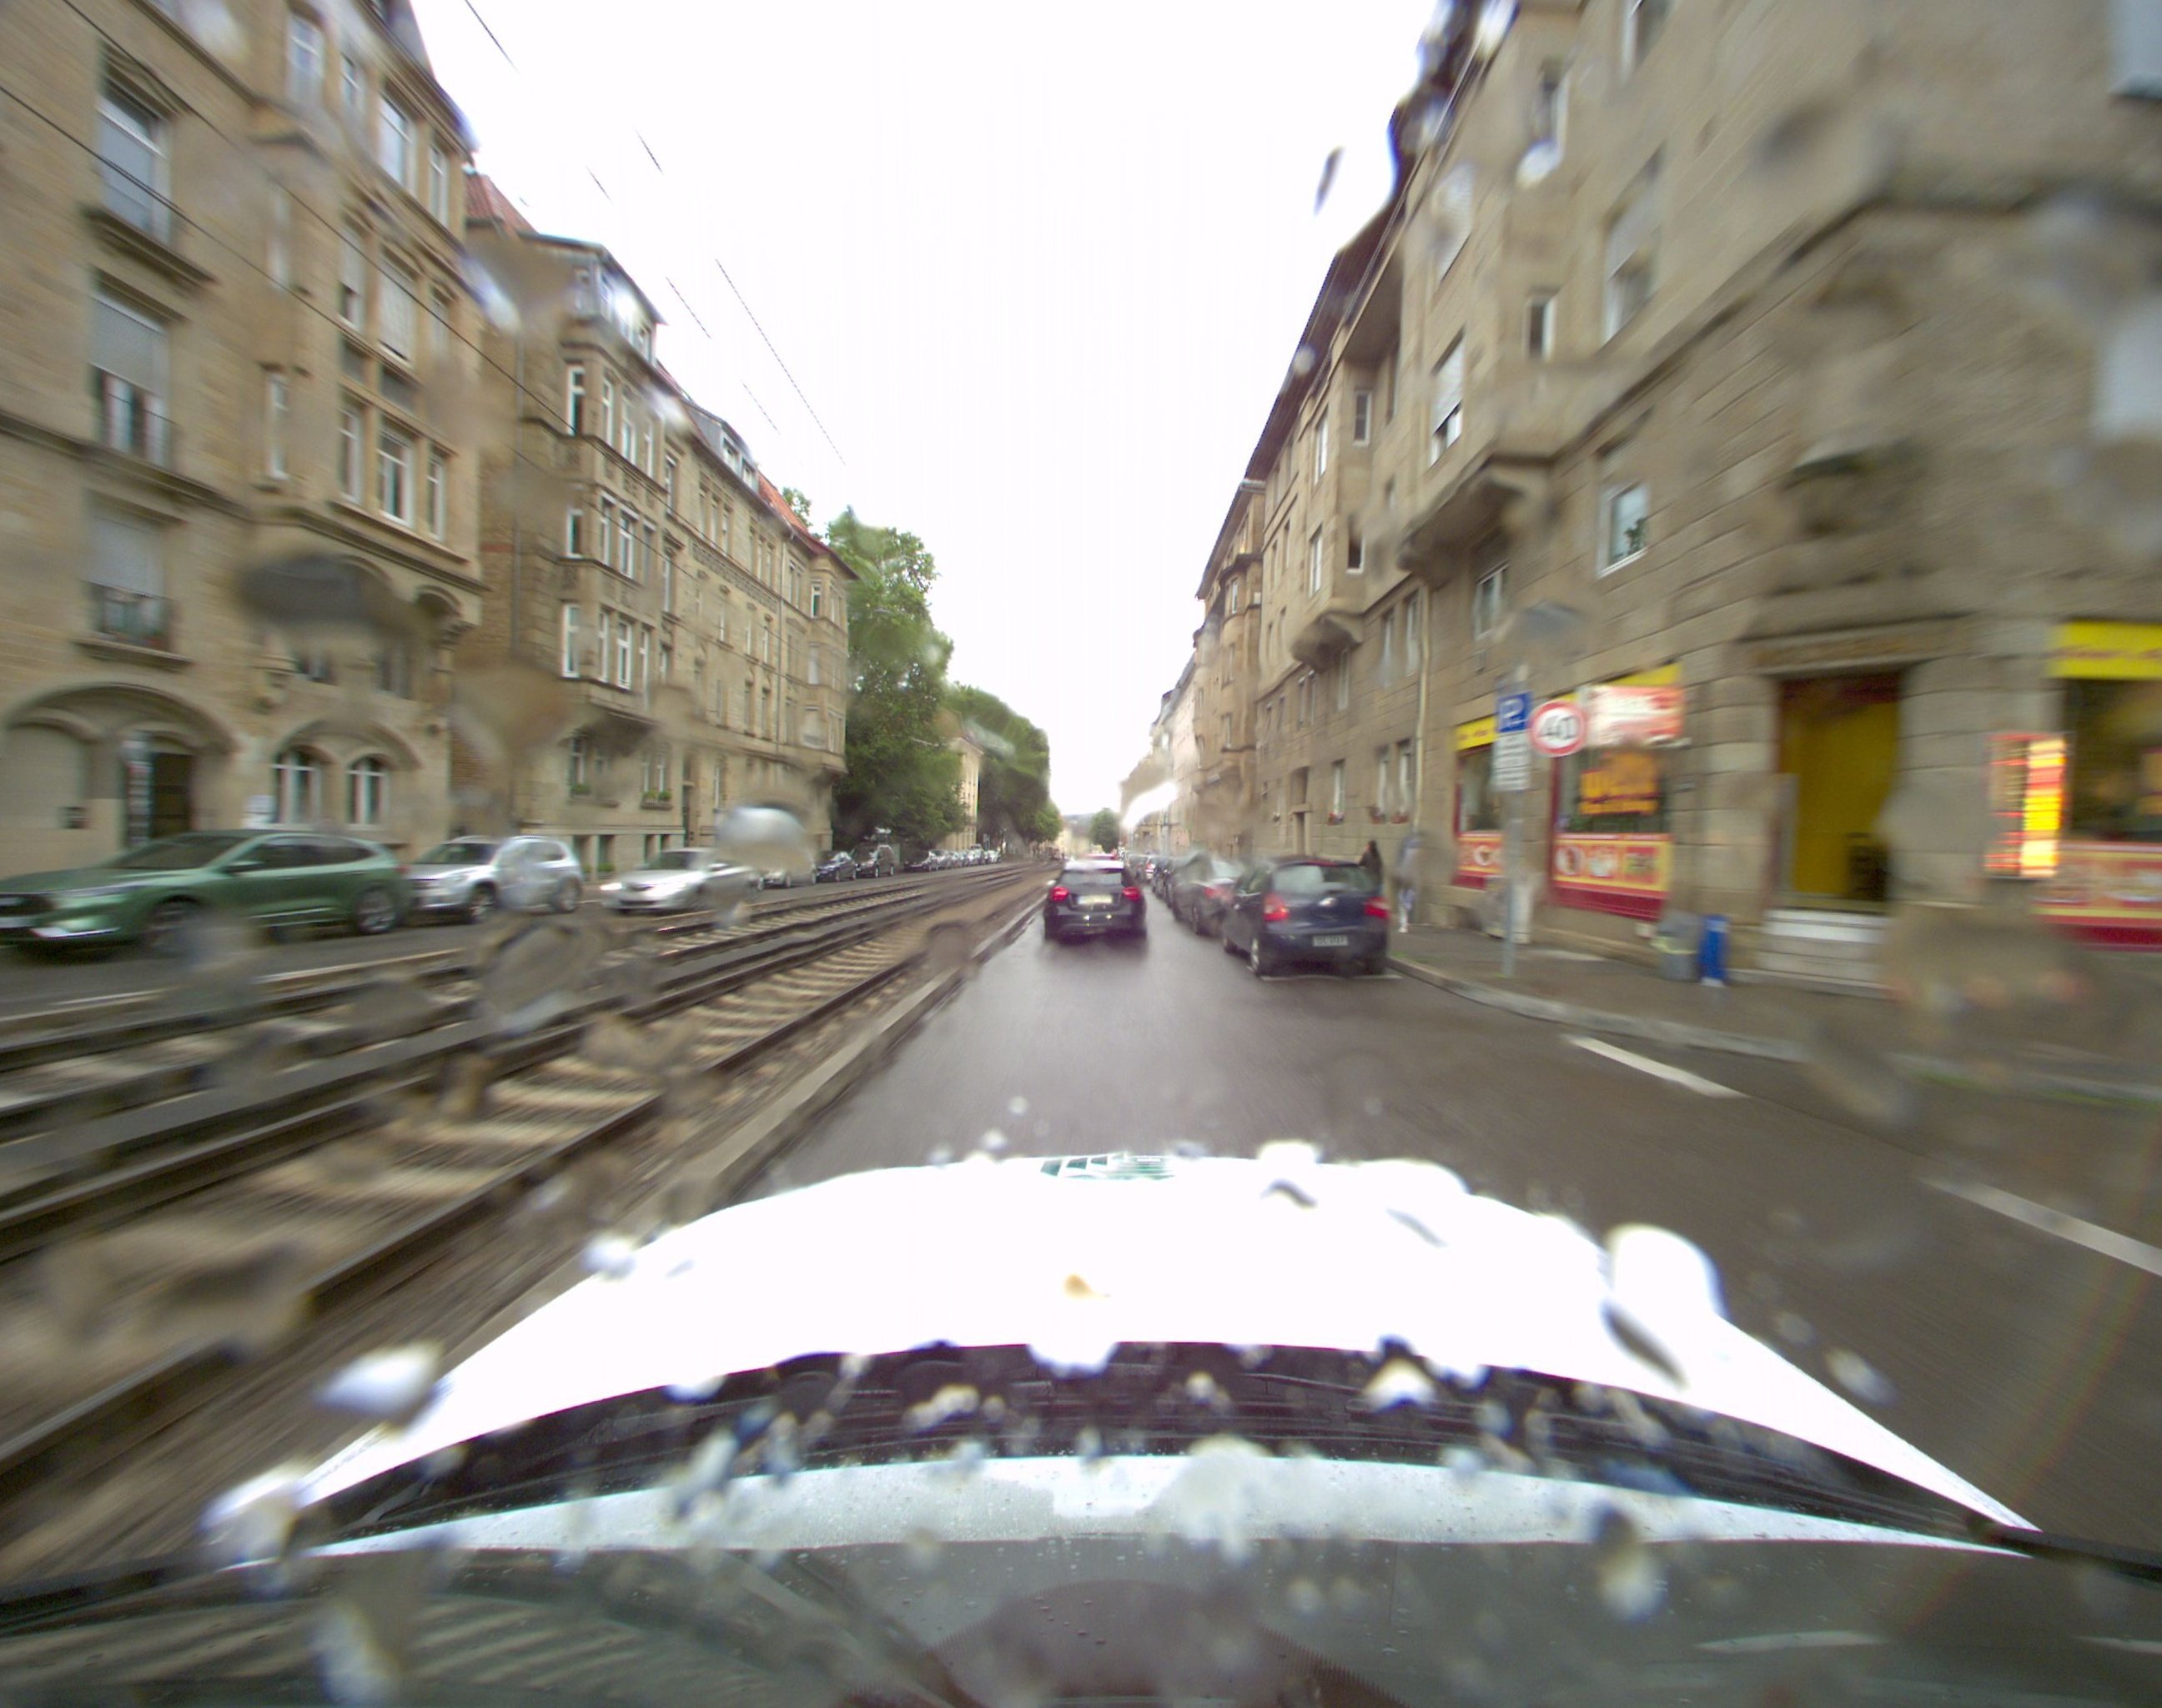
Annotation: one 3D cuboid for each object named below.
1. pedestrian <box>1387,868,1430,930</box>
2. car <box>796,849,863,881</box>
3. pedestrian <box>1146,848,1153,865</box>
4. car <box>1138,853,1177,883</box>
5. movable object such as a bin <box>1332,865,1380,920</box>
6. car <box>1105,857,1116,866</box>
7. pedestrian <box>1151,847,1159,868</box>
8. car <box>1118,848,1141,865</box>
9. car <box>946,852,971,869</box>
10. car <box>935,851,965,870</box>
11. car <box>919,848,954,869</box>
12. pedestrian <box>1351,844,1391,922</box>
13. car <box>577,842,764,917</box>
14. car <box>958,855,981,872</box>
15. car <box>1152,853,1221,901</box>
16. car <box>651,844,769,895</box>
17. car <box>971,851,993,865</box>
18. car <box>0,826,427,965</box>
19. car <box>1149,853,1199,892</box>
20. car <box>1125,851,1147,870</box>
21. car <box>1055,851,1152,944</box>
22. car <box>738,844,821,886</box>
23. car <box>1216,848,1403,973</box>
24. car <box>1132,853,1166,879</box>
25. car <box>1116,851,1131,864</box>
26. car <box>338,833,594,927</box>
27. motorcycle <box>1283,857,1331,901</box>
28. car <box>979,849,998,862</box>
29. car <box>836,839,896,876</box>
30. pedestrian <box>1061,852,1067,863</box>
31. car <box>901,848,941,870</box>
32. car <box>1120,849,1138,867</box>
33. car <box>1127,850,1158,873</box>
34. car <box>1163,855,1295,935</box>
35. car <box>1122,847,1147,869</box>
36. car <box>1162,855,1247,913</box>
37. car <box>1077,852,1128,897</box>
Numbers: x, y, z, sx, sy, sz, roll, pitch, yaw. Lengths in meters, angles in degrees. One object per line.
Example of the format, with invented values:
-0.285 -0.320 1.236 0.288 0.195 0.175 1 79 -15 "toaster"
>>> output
5.752 0.774 14.338 0.509 1.050 0.627 1 0 1 "pedestrian"
-11.501 0.471 37.529 1.756 1.398 4.269 0 0 0 "car"
7.447 0.272 88.545 0.743 1.833 1.039 -2 0 3 "pedestrian"
3.839 0.687 41.458 1.586 1.434 3.683 0 0 -1 "car"
5.888 0.802 17.473 0.663 1.103 1.124 1 0 1 "movable object such as a bin"
5.368 1.362 148.719 1.820 1.618 3.865 -1 0 1 "car"
6.274 0.278 69.507 0.605 1.763 0.688 -1 0 0 "pedestrian"
4.319 0.192 73.134 1.865 1.455 4.903 1 0 0 "car"
-10.704 0.537 71.409 1.534 1.413 3.953 -1 0 1 "car"
-10.742 0.509 66.911 1.748 1.413 4.154 -1 0 1 "car"
-10.893 0.332 61.643 1.748 1.536 4.543 -1 0 1 "car"
5.868 0.576 16.527 0.559 1.535 0.710 1 0 1 "pedestrian"
-8.909 0.496 18.169 1.975 1.457 4.294 0 0 0 "car"
-10.525 0.917 76.950 1.534 1.505 4.154 -1 0 1 "car"
3.474 0.722 27.382 1.782 1.462 4.083 1 0 0 "car"
-11.905 0.460 26.465 1.864 1.508 4.170 0 0 1 "car"
-10.525 0.447 86.921 1.668 1.413 4.012 -1 0 3 "car"
-12.159 0.473 11.645 1.851 1.602 4.433 0 0 3 "car"
3.570 0.698 31.726 1.539 1.415 3.446 1 0 0 "car"
4.252 0.488 63.327 1.564 1.462 3.601 0 0 2 "car"
0.402 0.709 15.205 1.575 1.505 3.575 1 0 1 "car"
-11.644 0.381 31.686 1.688 1.524 3.857 0 0 2 "car"
2.995 0.657 11.455 1.664 1.444 3.792 -1 0 2 "car"
3.879 0.653 46.897 1.662 1.434 3.956 0 0 0 "car"
5.112 0.447 98.025 1.687 1.529 4.002 1 0 2 "car"
-12.054 0.450 16.404 1.852 1.652 4.315 0 0 0 "car"
6.602 0.708 23.967 0.702 1.199 2.747 1 0 1 "motorcycle"
-10.346 0.178 91.738 1.494 1.391 3.990 -1 0 3 "car"
-11.419 0.173 43.603 1.794 1.846 4.820 0 0 1 "car"
-2.783 0.565 133.476 0.803 1.633 0.892 -1 0 2 "pedestrian"
-11.036 0.338 56.402 1.843 1.464 4.549 -1 0 0 "car"
4.858 0.365 82.743 1.821 1.750 4.470 1 0 3 "car"
3.933 0.466 52.538 1.664 1.410 4.311 0 0 0 "car"
2.857 0.729 16.749 1.750 1.387 4.482 -1 0 -2 "car"
4.413 0.342 67.610 1.784 1.765 4.212 0 0 1 "car"
3.239 0.752 22.085 1.701 1.398 4.018 1 0 0 "car"
0.805 0.712 30.686 1.779 1.581 4.001 1 0 1 "car"
